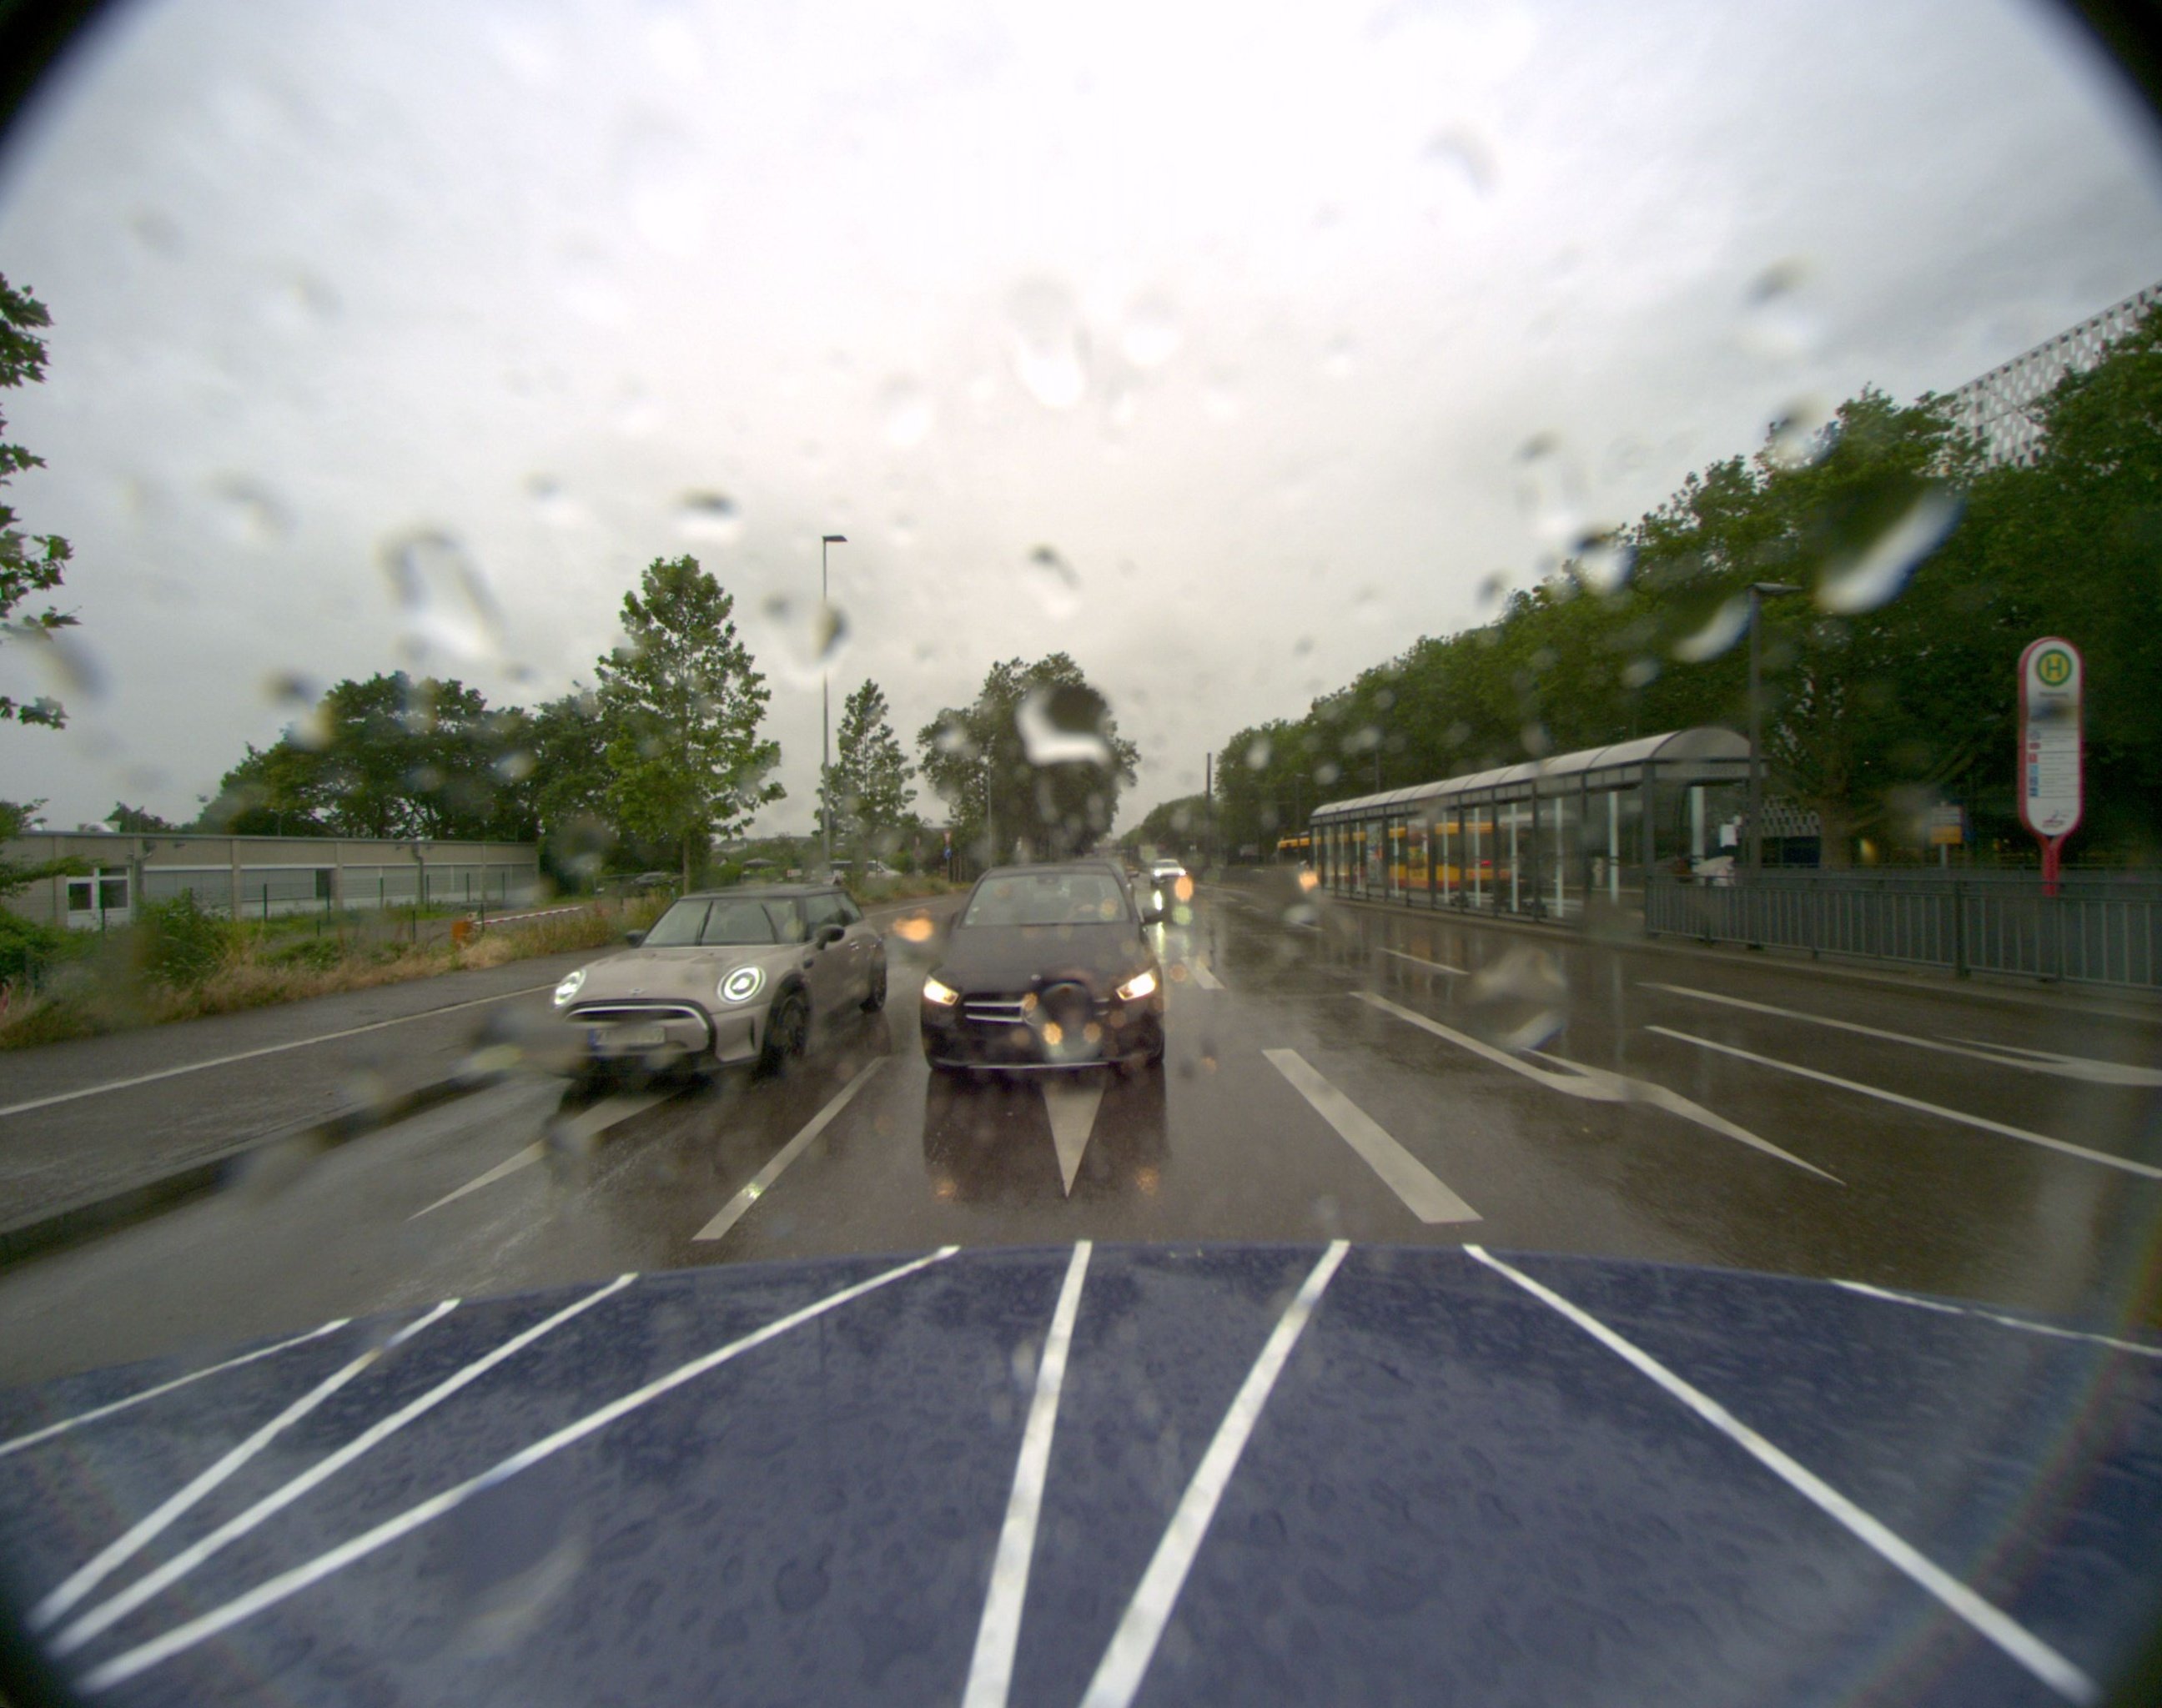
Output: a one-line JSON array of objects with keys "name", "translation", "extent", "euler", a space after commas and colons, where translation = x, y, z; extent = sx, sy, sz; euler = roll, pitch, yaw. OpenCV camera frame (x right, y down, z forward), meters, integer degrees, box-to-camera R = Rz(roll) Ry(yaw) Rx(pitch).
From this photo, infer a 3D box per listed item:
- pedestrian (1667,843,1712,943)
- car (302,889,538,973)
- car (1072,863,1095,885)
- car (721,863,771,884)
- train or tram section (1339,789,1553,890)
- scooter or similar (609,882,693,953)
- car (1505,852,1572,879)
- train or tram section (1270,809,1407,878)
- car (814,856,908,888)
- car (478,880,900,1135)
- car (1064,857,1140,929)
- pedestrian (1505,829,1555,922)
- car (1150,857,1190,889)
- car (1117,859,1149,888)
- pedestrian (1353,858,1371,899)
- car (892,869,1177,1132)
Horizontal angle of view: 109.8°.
[{"name": "pedestrian", "translation": [9.193, 0.579, 11.488], "extent": [0.321, 1.485, 0.415], "euler": [-3, 1, 6]}, {"name": "car", "translation": [-12.037, 1.392, 13.922], "extent": [3.243, 1.281, 1.345], "euler": [-3, 1, 6]}, {"name": "car", "translation": [0.202, 1.495, 56.991], "extent": [1.557, 1.500, 3.618], "euler": [-2, 0, 2]}, {"name": "car", "translation": [-28.235, 1.651, 64.104], "extent": [3.552, 1.574, 1.345], "euler": [-3, 1, 6]}, {"name": "train or tram section", "translation": [16.609, -0.613, 36.517], "extent": [3.751, 3.817, 13.253], "euler": [-3, 0, 0]}, {"name": "scooter or similar", "translation": [-8.199, 1.172, 14.582], "extent": [0.367, 1.192, 1.913], "euler": [-2, 0, 4]}, {"name": "car", "translation": [26.509, 0.655, 44.155], "extent": [1.585, 1.455, 3.427], "euler": [-3, 0, -6]}, {"name": "train or tram section", "translation": [16.566, -0.645, 50.983], "extent": [3.751, 3.777, 15.570], "euler": [-3, 0, 0]}, {"name": "car", "translation": [-13.630, 1.078, 47.208], "extent": [5.174, 1.715, 2.006], "euler": [-3, 1, -1]}, {"name": "car", "translation": [-3.019, 1.069, 6.893], "extent": [1.707, 1.499, 3.880], "euler": [-3, -1, 1]}, {"name": "car", "translation": [0.538, 0.896, 19.218], "extent": [1.689, 1.611, 4.000], "euler": [-1, 0, 2]}, {"name": "pedestrian", "translation": [9.314, 0.436, 15.785], "extent": [0.655, 1.860, 0.773], "euler": [-2, 1, 17]}, {"name": "car", "translation": [5.396, 1.107, 46.643], "extent": [1.935, 1.765, 4.663], "euler": [-3, 0, 1]}, {"name": "car", "translation": [3.031, 1.123, 44.916], "extent": [1.557, 1.541, 3.717], "euler": [-3, 0, 0]}, {"name": "pedestrian", "translation": [8.700, 0.757, 23.542], "extent": [0.458, 1.229, 0.467], "euler": [-2, 2, 15]}, {"name": "car", "translation": [-0.334, 0.967, 6.919], "extent": [1.759, 1.572, 4.169], "euler": [-2, -1, -1]}]
